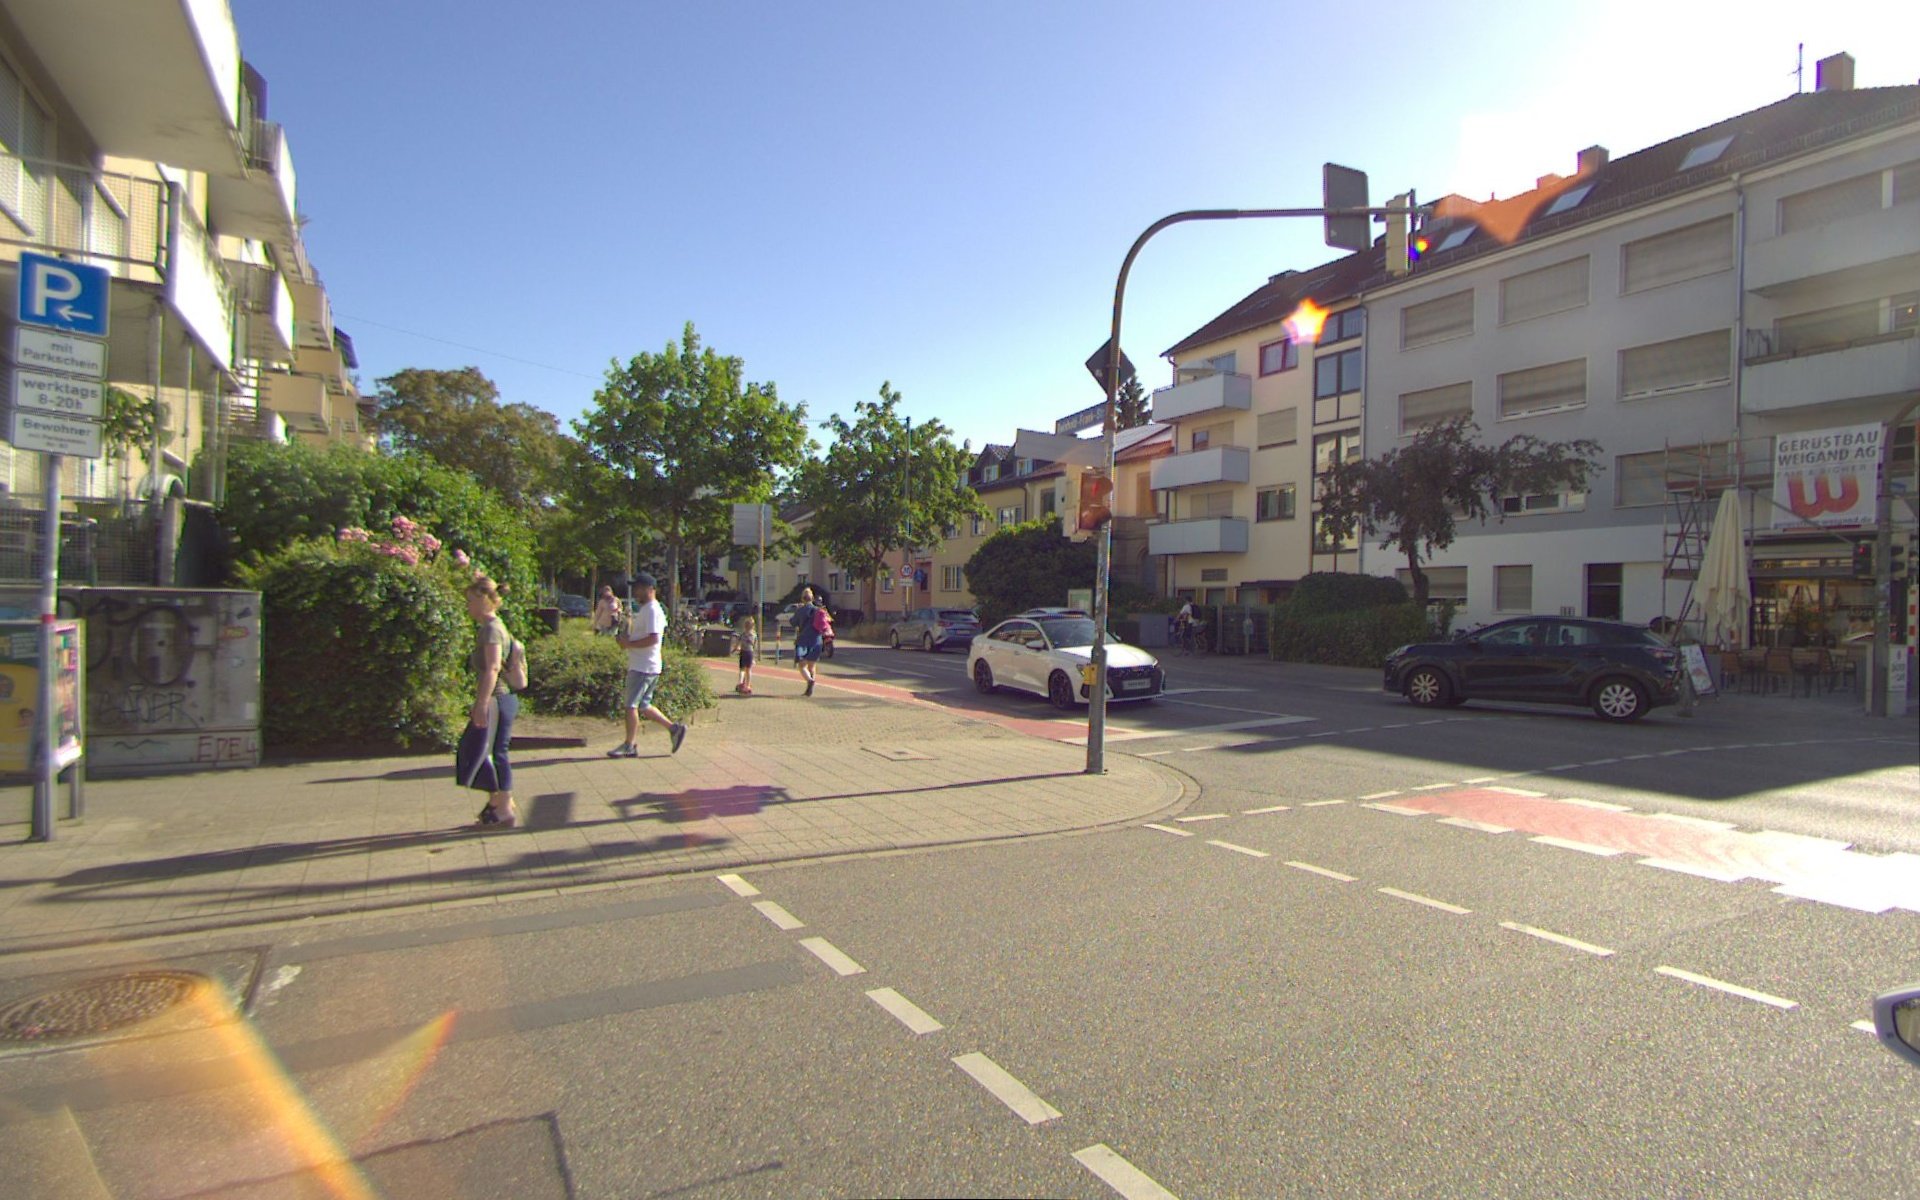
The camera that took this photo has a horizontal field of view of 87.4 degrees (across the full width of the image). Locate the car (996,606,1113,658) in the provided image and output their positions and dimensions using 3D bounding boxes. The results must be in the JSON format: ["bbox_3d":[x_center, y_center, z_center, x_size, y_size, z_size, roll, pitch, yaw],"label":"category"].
[{"bbox_3d":[2.991,0.985,32.561,1.893,1.539,3.969,0,0,-29],"label":"car"}]

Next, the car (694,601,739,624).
[{"bbox_3d":[-16.473,0.812,67.790,1.893,1.449,3.969,-1,1,-29],"label":"car"}]

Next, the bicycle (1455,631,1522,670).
[{"bbox_3d":[13.907,1.321,26.469,0.506,0.952,1.583,1,-1,-27],"label":"bicycle"}]

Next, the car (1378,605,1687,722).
[{"bbox_3d":[8.867,0.910,15.728,4.026,1.586,1.590,0,-2,39],"label":"car"}]

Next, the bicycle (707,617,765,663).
[{"bbox_3d":[-6.270,1.123,28.190,1.550,1.177,0.447,1,14,-7],"label":"bicycle"}]

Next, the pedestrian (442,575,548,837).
[{"bbox_3d":[-3.021,0.656,6.517,0.556,1.602,0.529,1,0,-30],"label":"pedestrian"}]

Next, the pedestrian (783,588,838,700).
[{"bbox_3d":[-2.375,0.673,15.867,0.567,1.705,0.962,1,0,-27],"label":"pedestrian"}]

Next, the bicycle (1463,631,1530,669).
[{"bbox_3d":[14.396,1.338,26.992,0.506,0.952,1.583,1,-1,-27],"label":"bicycle"}]

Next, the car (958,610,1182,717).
[{"bbox_3d":[1.770,0.992,17.613,1.909,1.455,4.238,-3,2,-27],"label":"car"}]

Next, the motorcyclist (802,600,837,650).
[{"bbox_3d":[-3.946,0.694,28.112,0.747,1.374,0.787,-1,1,-26],"label":"motorcyclist"}]

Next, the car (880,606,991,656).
[{"bbox_3d":[-0.876,0.966,32.570,1.822,1.453,4.142,1,-1,-30],"label":"car"}]

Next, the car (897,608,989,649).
[{"bbox_3d":[-0.712,1.054,38.868,1.893,1.449,3.969,-1,1,-29],"label":"car"}]

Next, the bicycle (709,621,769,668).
[{"bbox_3d":[-6.047,1.217,27.534,1.550,1.177,0.447,1,14,-7],"label":"bicycle"}]

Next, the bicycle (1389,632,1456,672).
[{"bbox_3d":[11.837,1.330,25.765,0.506,0.952,1.583,1,-1,-27],"label":"bicycle"}]

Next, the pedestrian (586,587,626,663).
[{"bbox_3d":[-7.706,0.531,21.835,0.688,1.617,0.642,1,0,-31],"label":"pedestrian"}]

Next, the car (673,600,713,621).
[{"bbox_3d":[-19.527,0.724,73.391,1.893,1.449,3.969,-1,1,-29],"label":"car"}]

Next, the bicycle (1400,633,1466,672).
[{"bbox_3d":[12.309,1.345,26.180,0.506,0.952,1.583,1,-1,-27],"label":"bicycle"}]

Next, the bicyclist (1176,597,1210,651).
[{"bbox_3d":[6.931,0.706,29.861,0.548,1.569,0.808,1,1,-30],"label":"bicyclist"}]

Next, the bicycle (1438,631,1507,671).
[{"bbox_3d":[13.260,1.302,26.025,0.506,0.952,1.583,1,-1,-27],"label":"bicycle"}]

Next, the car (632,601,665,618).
[{"bbox_3d":[-26.969,0.809,86.909,1.893,1.449,3.969,-1,1,-29],"label":"car"}]

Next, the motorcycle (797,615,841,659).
[{"bbox_3d":[-3.968,1.014,28.171,0.739,1.149,1.672,-1,1,-26],"label":"motorcycle"}]

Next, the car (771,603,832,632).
[{"bbox_3d":[-8.393,0.886,53.036,1.893,1.449,3.969,-1,1,-29],"label":"car"}]

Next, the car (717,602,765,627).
[{"bbox_3d":[-13.941,0.894,63.705,1.893,1.449,3.969,-1,1,-29],"label":"car"}]

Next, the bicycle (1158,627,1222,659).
[{"bbox_3d":[6.840,1.270,29.966,0.548,0.845,2.114,1,0,-30],"label":"bicycle"}]

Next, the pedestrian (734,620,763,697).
[{"bbox_3d":[-3.299,0.901,15.672,0.381,1.161,0.530,1,0,-18],"label":"pedestrian"}]

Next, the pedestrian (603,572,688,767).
[{"bbox_3d":[-2.899,0.617,9.240,0.660,1.711,0.571,1,0,-25],"label":"pedestrian"}]
